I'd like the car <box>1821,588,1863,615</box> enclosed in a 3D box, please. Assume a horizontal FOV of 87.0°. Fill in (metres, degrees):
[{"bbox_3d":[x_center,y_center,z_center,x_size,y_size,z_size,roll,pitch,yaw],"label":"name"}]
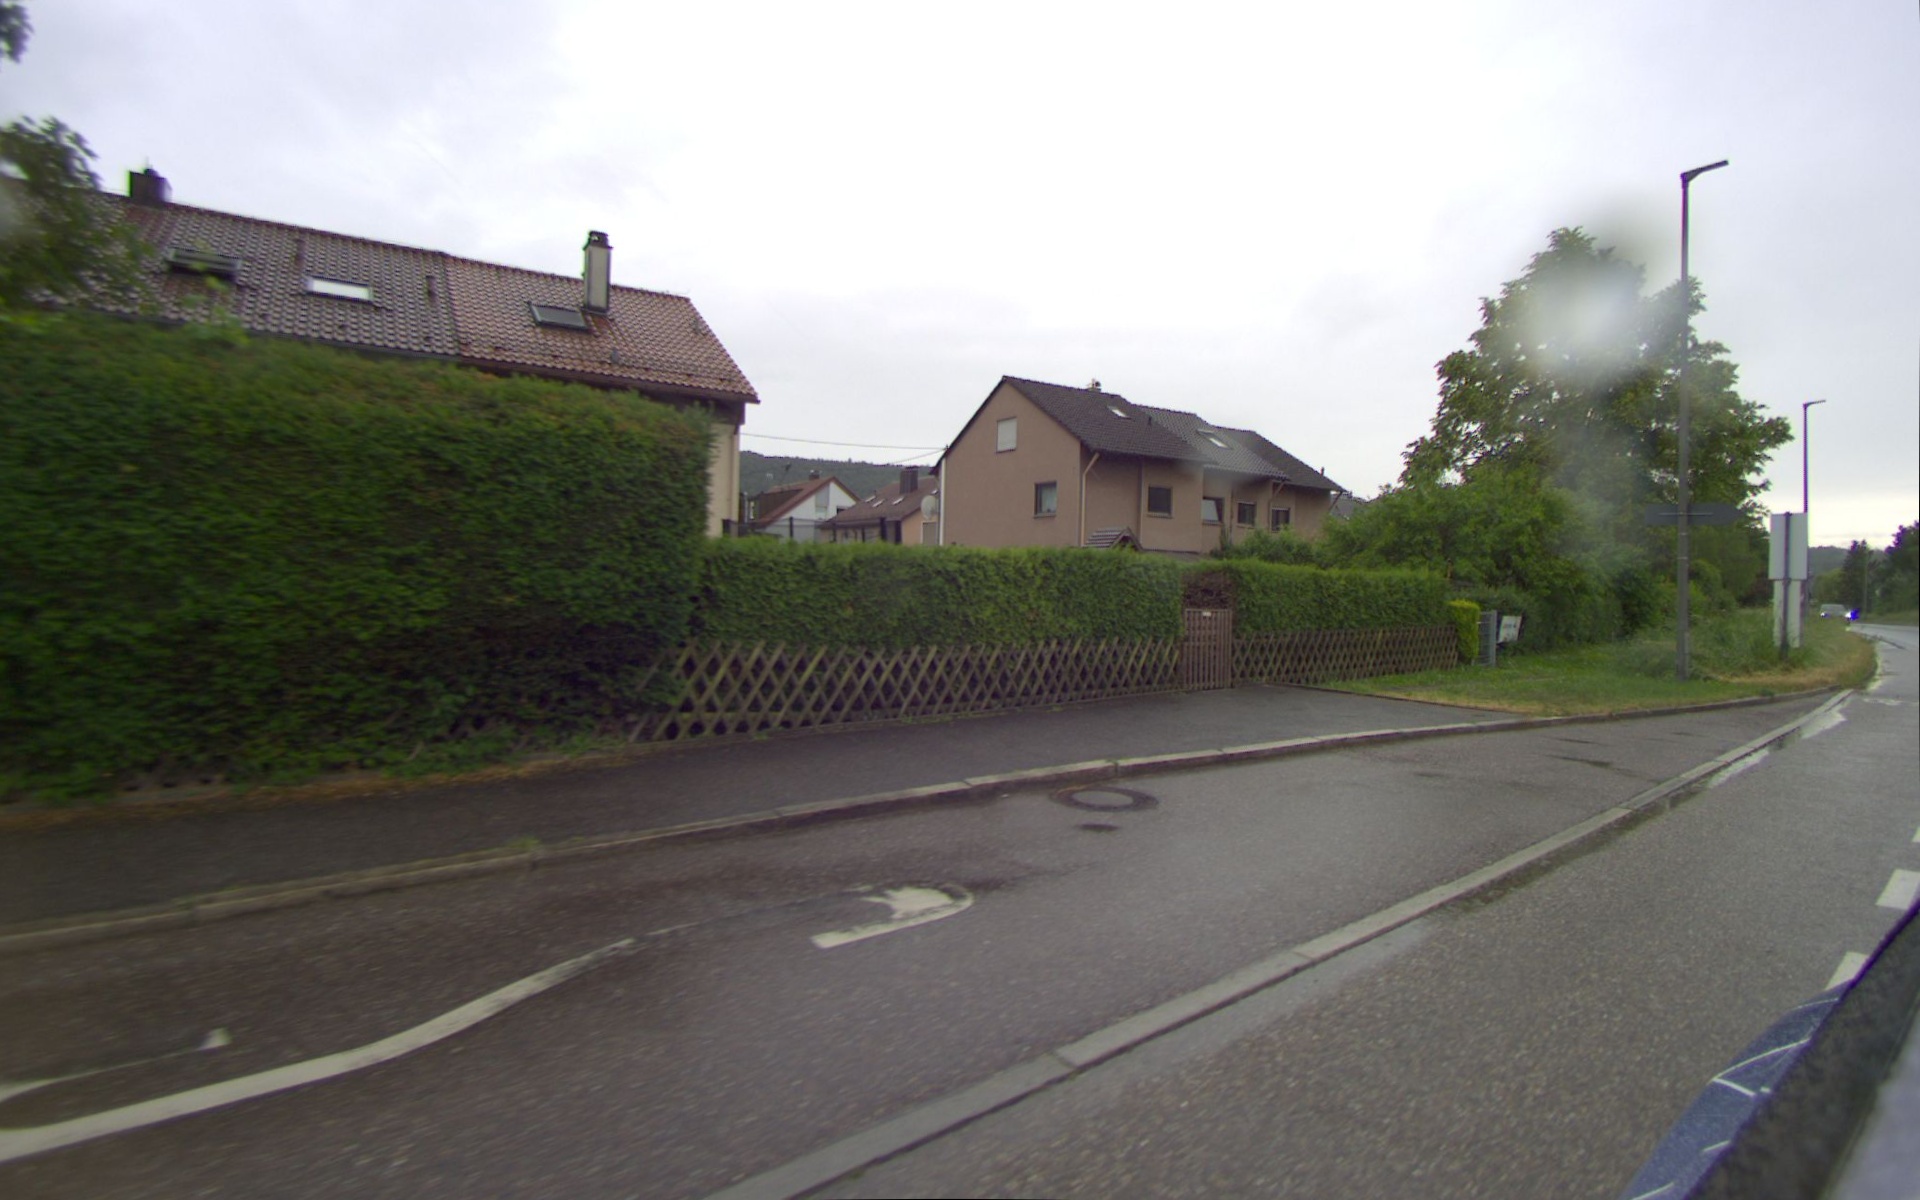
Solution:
[{"bbox_3d":[63.541,0.108,72.967,1.989,1.865,3.946,2,1,37],"label":"car"}]
